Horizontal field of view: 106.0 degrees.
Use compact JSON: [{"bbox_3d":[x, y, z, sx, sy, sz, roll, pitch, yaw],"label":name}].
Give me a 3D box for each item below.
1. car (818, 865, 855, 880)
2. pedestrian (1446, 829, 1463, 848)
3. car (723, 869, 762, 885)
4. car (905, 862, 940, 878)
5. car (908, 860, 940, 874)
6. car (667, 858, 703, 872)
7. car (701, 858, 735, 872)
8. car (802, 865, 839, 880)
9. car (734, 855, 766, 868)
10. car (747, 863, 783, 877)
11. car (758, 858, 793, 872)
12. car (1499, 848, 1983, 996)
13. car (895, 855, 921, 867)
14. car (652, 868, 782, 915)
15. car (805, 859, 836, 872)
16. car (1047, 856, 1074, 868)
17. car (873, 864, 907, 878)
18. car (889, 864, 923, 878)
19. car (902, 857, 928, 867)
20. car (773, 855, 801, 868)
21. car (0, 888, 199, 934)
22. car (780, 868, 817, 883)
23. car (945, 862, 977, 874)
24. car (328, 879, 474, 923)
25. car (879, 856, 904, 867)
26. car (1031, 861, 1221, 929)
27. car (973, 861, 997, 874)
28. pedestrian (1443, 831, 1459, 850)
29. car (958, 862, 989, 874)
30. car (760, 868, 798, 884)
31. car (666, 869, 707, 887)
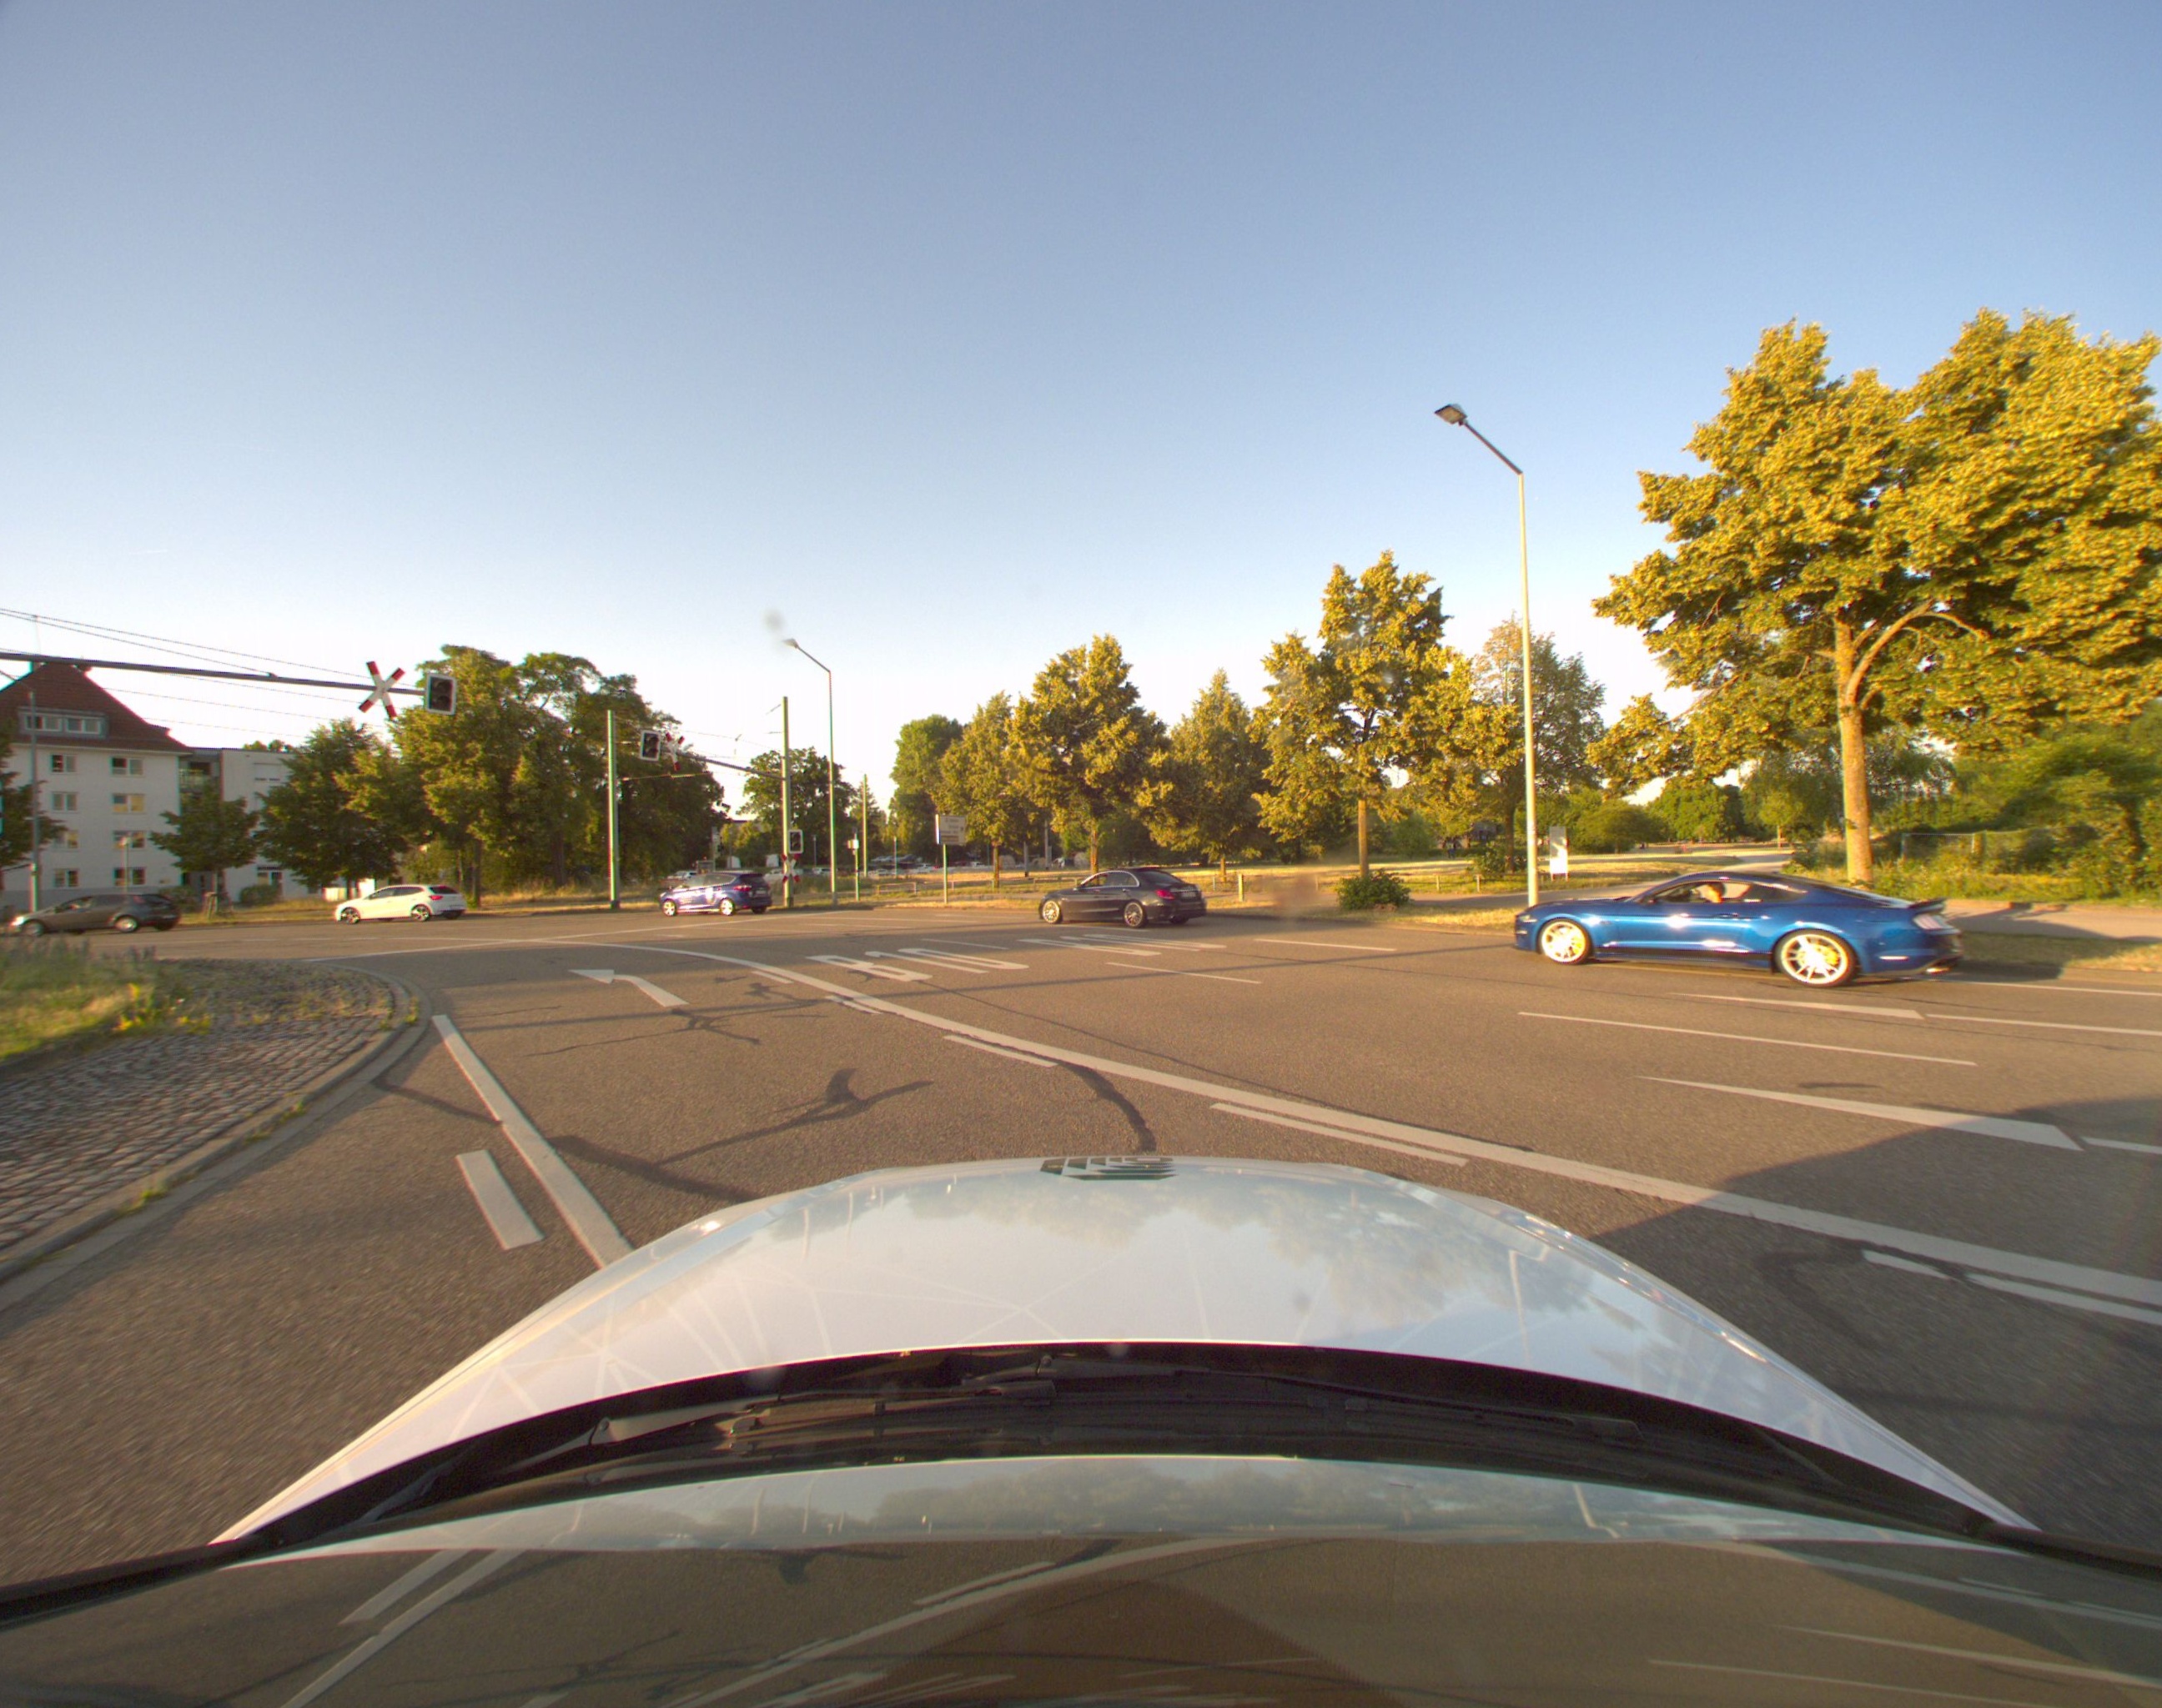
[{"bbox_3d":[-28.271,2.108,94.142,3.948,1.604,2.013,-2,0,37],"label":"car"},{"bbox_3d":[32.416,-1.365,70.757,1.063,1.617,0.912,-2,0,7],"label":"pedestrian"},{"bbox_3d":[-35.104,2.364,84.372,3.948,1.604,2.013,-2,0,37],"label":"car"},{"bbox_3d":[-22.345,2.268,114.811,4.574,2.013,1.997,-2,0,-4],"label":"car"},{"bbox_3d":[-23.695,1.971,123.076,4.574,2.013,1.997,-2,0,-4],"label":"car"},{"bbox_3d":[-62.319,1.758,128.140,1.974,2.013,4.628,-2,0,34],"label":"car"},{"bbox_3d":[-58.957,1.757,132.365,1.974,2.013,4.628,-2,0,34],"label":"car"},{"bbox_3d":[-29.433,2.105,92.012,3.948,1.604,2.013,-2,0,37],"label":"car"},{"bbox_3d":[-55.618,1.294,136.936,1.974,2.013,4.627,-2,0,39],"label":"car"},{"bbox_3d":[-41.215,2.037,106.302,1.878,1.662,4.025,-2,0,39],"label":"car"},{"bbox_3d":[-46.198,1.675,123.217,1.974,2.013,4.628,-2,0,34],"label":"car"},{"bbox_3d":[8.537,0.745,10.999,2.009,1.505,4.718,-1,0,-37],"label":"car"},{"bbox_3d":[-31.197,1.256,146.808,1.975,2.013,4.024,-2,0,45],"label":"car"},{"bbox_3d":[-13.379,1.371,29.993,4.132,1.583,1.925,-2,0,19],"label":"car"},{"bbox_3d":[-36.105,1.641,112.931,3.997,1.662,1.891,-2,0,-18],"label":"car"},{"bbox_3d":[-2.834,1.124,110.650,1.747,1.618,3.956,-1,0,-36],"label":"car"},{"bbox_3d":[-23.486,2.108,100.226,3.948,1.604,2.013,-2,0,37],"label":"car"},{"bbox_3d":[-21.937,2.108,102.242,3.948,1.604,2.013,-2,0,37],"label":"car"},{"bbox_3d":[-29.090,1.379,143.098,3.961,1.706,2.006,-2,0,11],"label":"car"},{"bbox_3d":[-51.459,1.298,142.378,1.974,2.013,4.142,-2,0,38],"label":"car"},{"bbox_3d":[-35.483,2.077,29.603,4.158,1.454,1.857,3,-4,-17],"label":"car"},{"bbox_3d":[-31.317,2.370,90.338,3.948,1.604,2.013,-2,0,37],"label":"car"},{"bbox_3d":[-16.342,1.913,110.800,3.948,1.604,2.013,-2,0,37],"label":"car"},{"bbox_3d":[-26.278,1.796,31.569,3.950,1.454,1.866,-2,0,-4],"label":"car"},{"bbox_3d":[-34.843,1.355,149.962,1.974,1.816,4.025,-2,0,39],"label":"car"},{"bbox_3d":[1.036,0.953,20.492,4.562,1.505,2.012,-1,-1,44],"label":"car"},{"bbox_3d":[-14.811,2.078,125.627,2.007,1.752,4.552,-1,1,-32],"label":"car"},{"bbox_3d":[32.826,-1.170,72.258,1.063,1.617,0.912,-2,0,7],"label":"pedestrian"},{"bbox_3d":[-14.793,1.965,112.426,3.948,1.604,2.013,-2,0,37],"label":"car"},{"bbox_3d":[-32.933,2.373,88.799,3.948,1.604,2.013,-2,0,37],"label":"car"},{"bbox_3d":[-38.920,2.369,80.322,3.948,1.604,2.013,-2,0,37],"label":"car"}]
